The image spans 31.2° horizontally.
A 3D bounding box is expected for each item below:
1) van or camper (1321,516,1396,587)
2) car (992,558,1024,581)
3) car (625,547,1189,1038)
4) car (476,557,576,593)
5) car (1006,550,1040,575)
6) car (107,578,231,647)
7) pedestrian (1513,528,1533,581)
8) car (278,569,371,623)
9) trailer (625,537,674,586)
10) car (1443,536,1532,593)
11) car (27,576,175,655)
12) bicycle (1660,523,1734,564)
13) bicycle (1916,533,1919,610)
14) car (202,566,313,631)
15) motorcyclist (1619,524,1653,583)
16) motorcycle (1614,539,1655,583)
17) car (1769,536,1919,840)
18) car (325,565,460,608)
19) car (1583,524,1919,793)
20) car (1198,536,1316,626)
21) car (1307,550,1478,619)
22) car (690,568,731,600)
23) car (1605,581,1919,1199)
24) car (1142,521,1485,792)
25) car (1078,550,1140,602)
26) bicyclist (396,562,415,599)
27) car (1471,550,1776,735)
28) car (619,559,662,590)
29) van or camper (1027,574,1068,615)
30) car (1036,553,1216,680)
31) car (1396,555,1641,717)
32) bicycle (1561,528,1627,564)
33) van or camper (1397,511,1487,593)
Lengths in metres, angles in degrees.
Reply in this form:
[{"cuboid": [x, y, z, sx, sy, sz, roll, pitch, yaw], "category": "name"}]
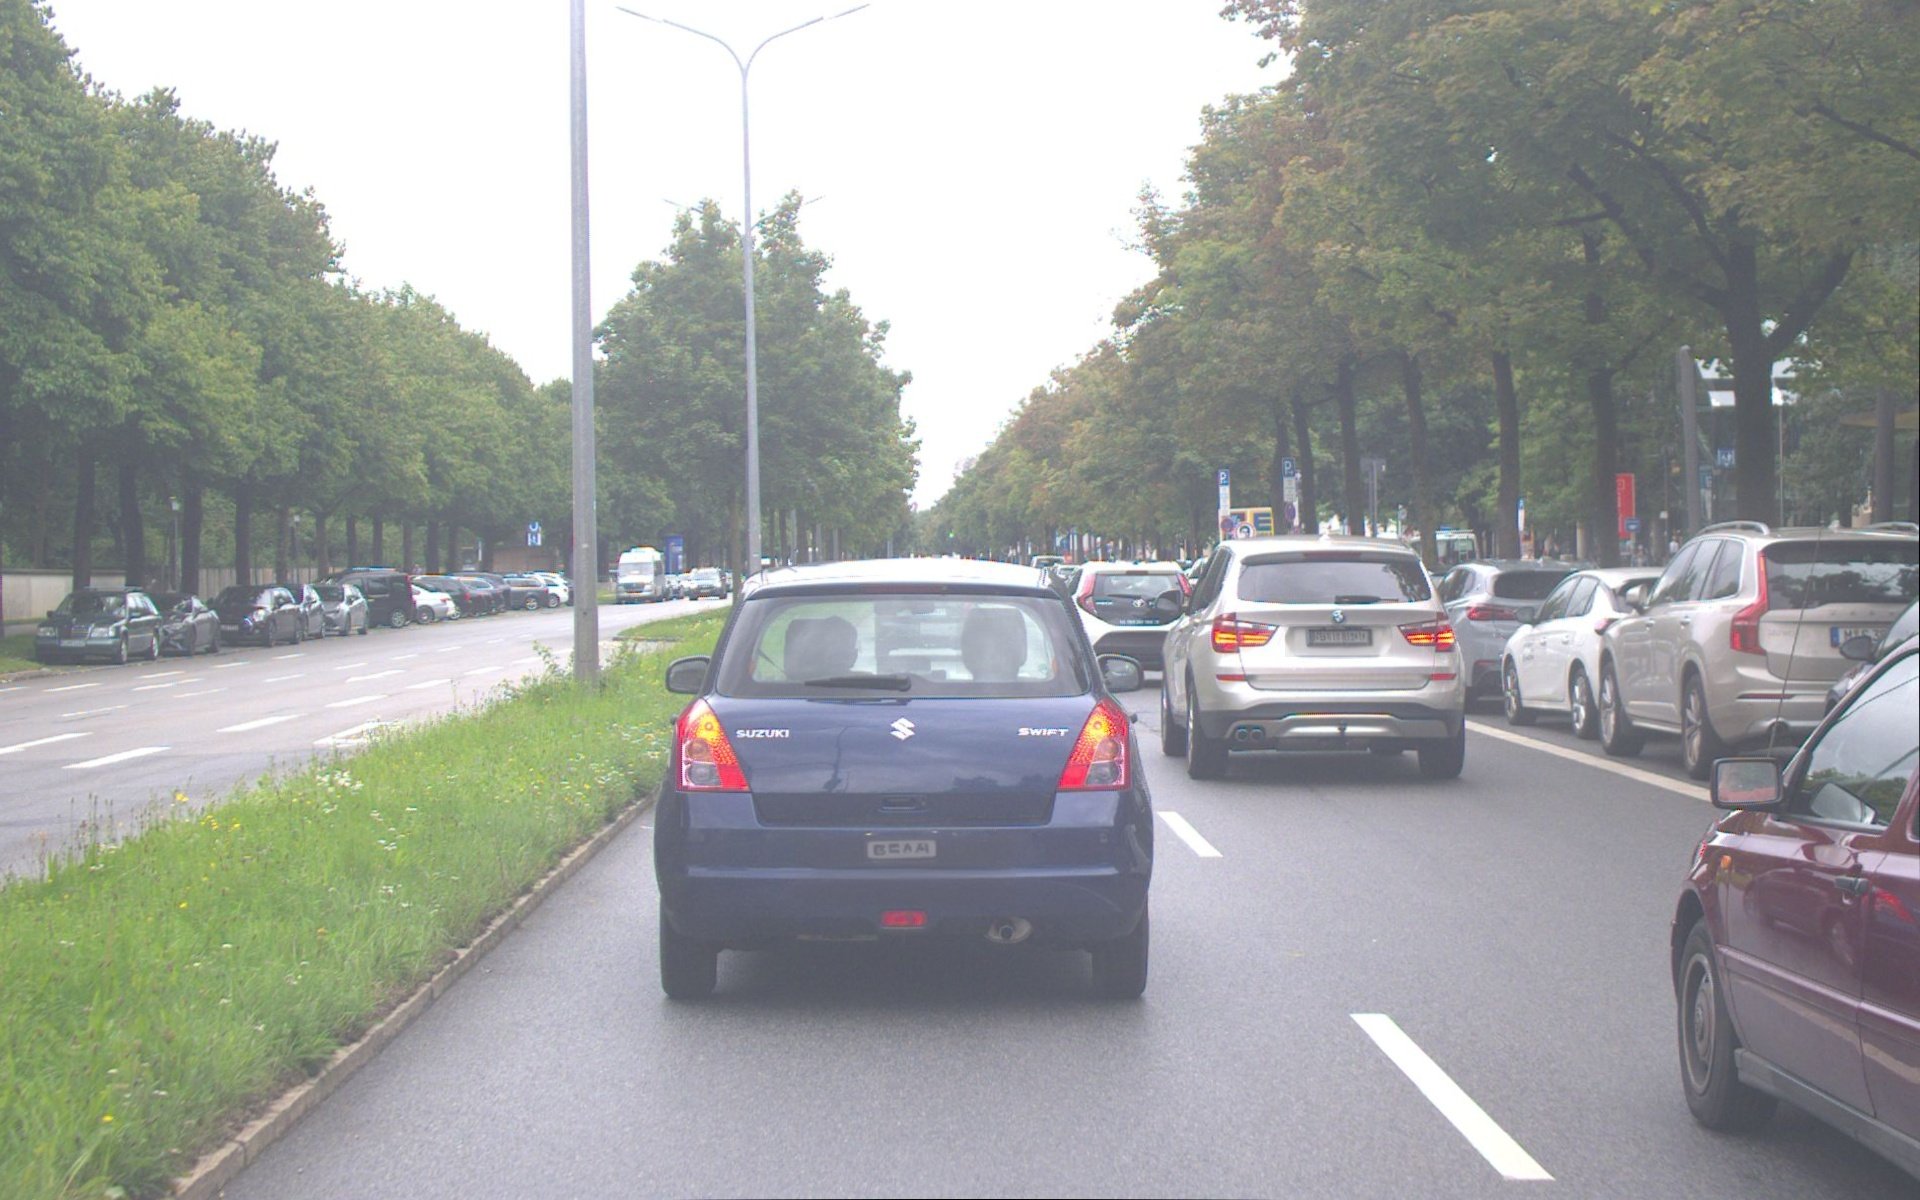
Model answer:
[{"cuboid": [14.693, -1.792, 127.047, 2.024, 2.549, 5.957, -1, 1, 0], "category": "van or camper"}, {"cuboid": [3.101, -2.006, 222.795, 1.850, 1.442, 4.098, -1, 1, -2], "category": "car"}, {"cuboid": [-0.240, 0.590, 13.050, 1.789, 1.550, 4.000, -1, 1, -2], "category": "car"}, {"cuboid": [-19.860, -1.137, 157.256, 4.095, 1.579, 1.919, -2, 1, -34], "category": "car"}, {"cuboid": [3.804, -2.294, 208.944, 1.850, 1.442, 4.098, -1, 1, -2], "category": "car"}, {"cuboid": [-17.262, 0.251, 75.221, 1.659, 1.391, 4.707, 0, 1, -1], "category": "car"}, {"cuboid": [18.738, -1.526, 114.481, 0.575, 1.745, 0.732, -1, 1, 4], "category": "pedestrian"}, {"cuboid": [-17.658, -0.136, 95.677, 1.636, 1.434, 4.809, 0, 1, 1], "category": "car"}, {"cuboid": [-16.645, -2.088, 184.350, 2.106, 2.532, 5.577, -1, 1, 0], "category": "trailer"}, {"cuboid": [15.647, -1.065, 102.141, 1.993, 1.645, 4.000, -1, 1, 0], "category": "car"}, {"cuboid": [-17.245, 0.281, 69.236, 1.799, 1.485, 4.915, 0, 1, -1], "category": "car"}, {"cuboid": [27.638, -2.127, 128.925, 2.609, 1.503, 0.798, -1, 1, -14], "category": "bicycle"}, {"cuboid": [16.215, -0.463, 55.782, 0.645, 1.276, 2.550, -1, 1, 0], "category": "bicycle"}, {"cuboid": [-17.066, -0.054, 83.668, 1.571, 1.498, 4.303, 0, 1, 3], "category": "car"}, {"cuboid": [20.723, -1.424, 105.406, 0.691, 1.731, 0.953, -5, 1, 0], "category": "motorcyclist"}, {"cuboid": [20.731, -1.206, 105.693, 0.696, 1.286, 2.066, -5, 1, 0], "category": "motorcycle"}, {"cuboid": [5.852, 0.437, 18.537, 1.747, 1.542, 4.642, -2, 1, -1], "category": "car"}, {"cuboid": [-18.755, -0.451, 113.619, 3.987, 1.349, 1.850, -2, 1, -35], "category": "car"}, {"cuboid": [5.761, 0.324, 24.459, 1.747, 1.718, 4.906, 0, 1, 0], "category": "car"}, {"cuboid": [5.758, -0.398, 67.032, 1.786, 1.669, 4.596, -1, 1, -1], "category": "car"}, {"cuboid": [10.593, -0.387, 83.920, 1.971, 1.619, 4.836, 0, 1, 38], "category": "car"}, {"cuboid": [-12.685, -0.837, 174.746, 1.913, 1.537, 4.188, -1, 1, -2], "category": "car"}, {"cuboid": [2.669, 0.700, 7.698, 1.622, 1.449, 3.950, -1, 1, -1], "category": "car"}, {"cuboid": [2.411, 0.338, 24.404, 1.850, 1.737, 4.098, -1, 1, -2], "category": "car"}, {"cuboid": [4.904, -0.806, 113.599, 1.764, 1.646, 4.424, -1, 1, -1], "category": "car"}, {"cuboid": [-26.051, -0.924, 161.451, 0.705, 1.741, 0.923, -1, 1, 0], "category": "bicyclist"}, {"cuboid": [5.815, 0.321, 30.634, 1.702, 1.503, 4.504, -1, 1, -2], "category": "car"}, {"cuboid": [-16.225, -1.308, 174.952, 1.913, 1.537, 4.188, -1, 1, -2], "category": "car"}, {"cuboid": [4.333, -0.277, 170.494, 1.944, 1.968, 4.306, -1, 1, 0], "category": "van or camper"}, {"cuboid": [1.983, 0.165, 42.148, 1.850, 1.442, 4.098, -1, 1, -2], "category": "car"}, {"cuboid": [5.648, 0.321, 35.247, 1.720, 1.529, 4.399, 1, 1, -1], "category": "car"}, {"cuboid": [27.035, -2.300, 146.578, 2.609, 1.503, 0.798, -1, 1, -6], "category": "bicycle"}, {"cuboid": [15.459, -1.548, 110.491, 1.993, 2.549, 5.957, -1, 1, 0], "category": "van or camper"}]
